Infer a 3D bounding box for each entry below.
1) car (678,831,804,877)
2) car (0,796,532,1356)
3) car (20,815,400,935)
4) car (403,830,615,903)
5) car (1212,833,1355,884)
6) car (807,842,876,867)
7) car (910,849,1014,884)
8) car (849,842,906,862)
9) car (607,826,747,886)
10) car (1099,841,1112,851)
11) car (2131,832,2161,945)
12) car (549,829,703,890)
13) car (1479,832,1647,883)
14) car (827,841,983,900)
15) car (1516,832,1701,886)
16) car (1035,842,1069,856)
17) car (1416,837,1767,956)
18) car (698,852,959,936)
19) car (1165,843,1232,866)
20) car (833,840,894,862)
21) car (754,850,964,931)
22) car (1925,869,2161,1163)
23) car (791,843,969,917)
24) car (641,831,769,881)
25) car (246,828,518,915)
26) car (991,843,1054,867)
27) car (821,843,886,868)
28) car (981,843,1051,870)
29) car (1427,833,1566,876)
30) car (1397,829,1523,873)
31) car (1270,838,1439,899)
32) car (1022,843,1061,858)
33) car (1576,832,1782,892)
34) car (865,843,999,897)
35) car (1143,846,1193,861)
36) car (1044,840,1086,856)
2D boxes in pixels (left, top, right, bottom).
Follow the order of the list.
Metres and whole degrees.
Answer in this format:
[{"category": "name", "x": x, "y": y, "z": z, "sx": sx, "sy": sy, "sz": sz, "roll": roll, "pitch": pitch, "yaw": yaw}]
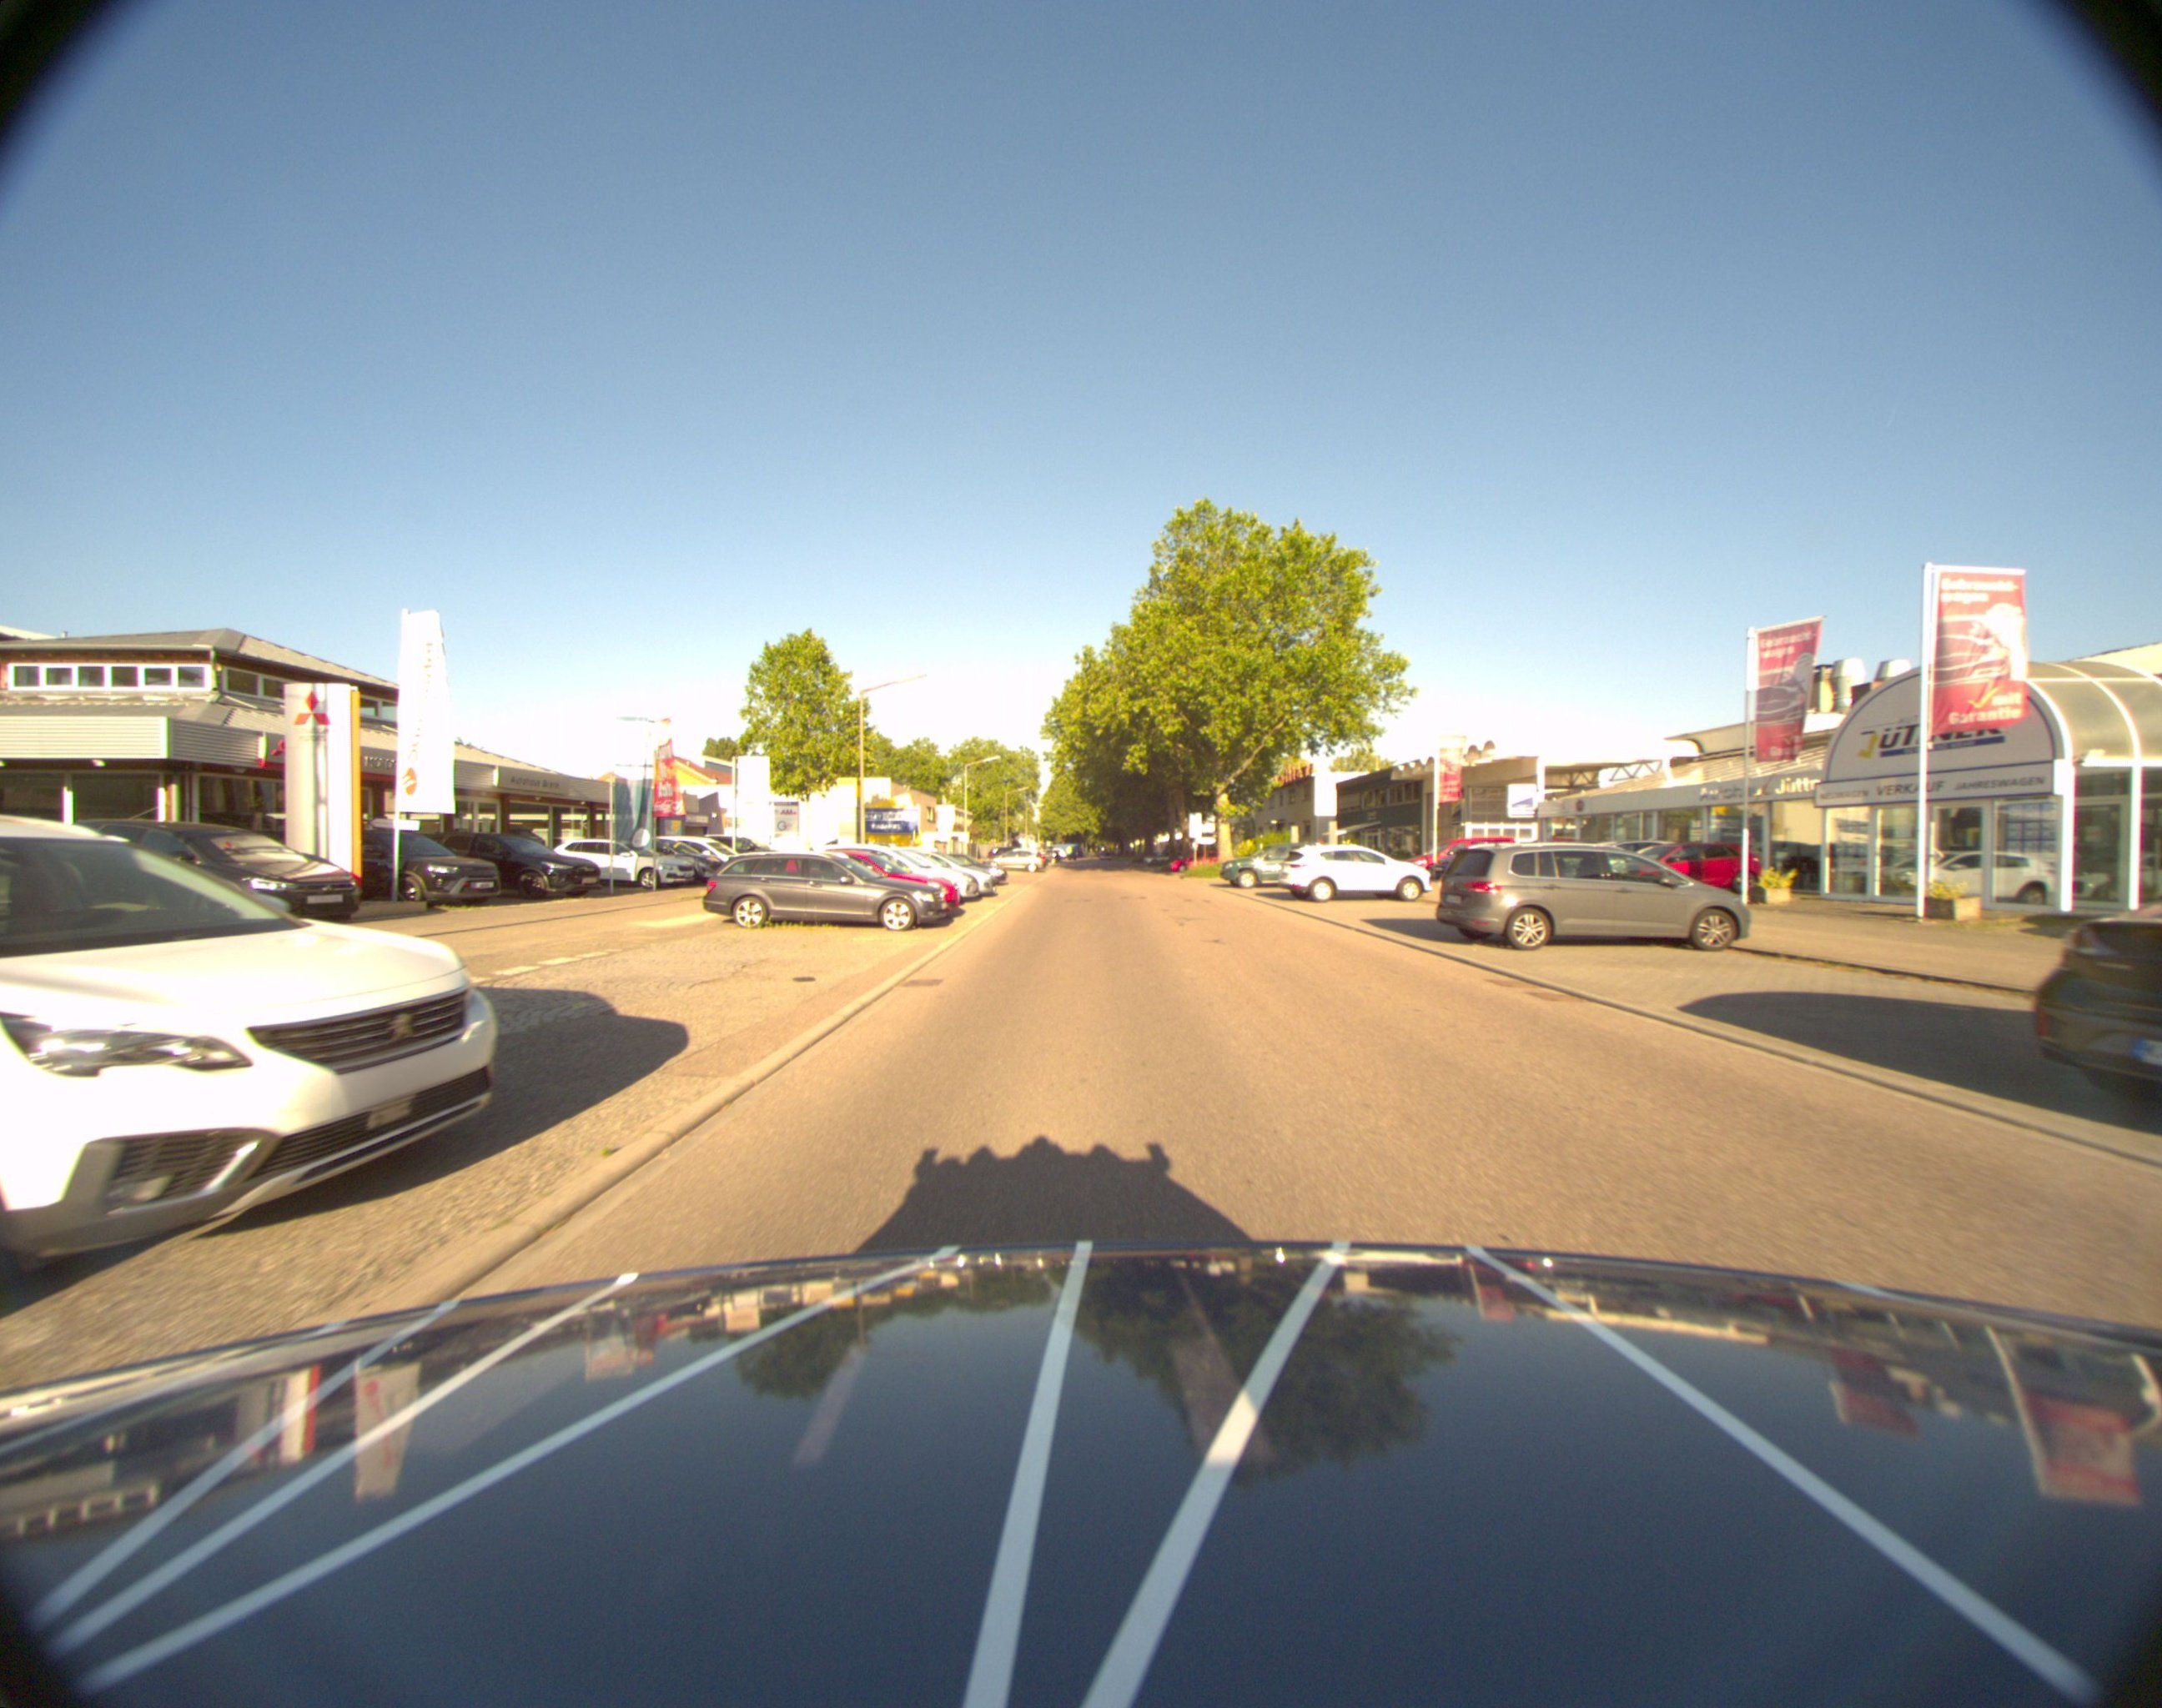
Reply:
[{"category": "car", "x": -14.902, "y": -0.027, "z": 33.511, "sx": 4.507, "sy": 1.888, "sz": 2.201, "roll": -1, "pitch": 2, "yaw": 0}, {"category": "car", "x": -5.401, "y": 0.523, "z": 3.148, "sx": 4.567, "sy": 1.588, "sz": 2.201, "roll": 3, "pitch": 1, "yaw": -2}, {"category": "car", "x": -14.558, "y": 0.312, "z": 12.918, "sx": 4.154, "sy": 1.761, "sz": 2.000, "roll": 2, "pitch": 2, "yaw": 1}, {"category": "car", "x": -14.705, "y": 0.280, "z": 19.716, "sx": 3.997, "sy": 1.687, "sz": 2.000, "roll": 2, "pitch": 1, "yaw": 1}, {"category": "car", "x": 8.242, "y": 0.158, "z": 31.315, "sx": 5.273, "sy": 1.888, "sz": 2.201, "roll": -1, "pitch": 2, "yaw": 0}, {"category": "car", "x": -15.859, "y": 0.020, "z": 50.469, "sx": 3.998, "sy": 1.510, "sz": 1.999, "roll": -1, "pitch": 1, "yaw": -4}, {"category": "car", "x": -4.915, "y": 0.493, "z": 31.713, "sx": 3.996, "sy": 1.289, "sz": 1.784, "roll": 1, "pitch": 1, "yaw": 3}, {"category": "car", "x": -16.003, "y": -0.162, "z": 59.867, "sx": 3.998, "sy": 1.488, "sz": 1.999, "roll": -1, "pitch": 1, "yaw": -4}, {"category": "car", "x": -14.522, "y": 0.072, "z": 27.486, "sx": 3.809, "sy": 1.887, "sz": 2.202, "roll": 3, "pitch": 1, "yaw": 0}, {"category": "car", "x": 3.949, "y": -1.331, "z": 123.753, "sx": 1.843, "sy": 1.562, "sz": 3.801, "roll": 2, "pitch": 1, "yaw": 0}, {"category": "car", "x": 16.841, "y": 0.447, "z": 9.724, "sx": 3.997, "sy": 1.547, "sz": 1.999, "roll": -1, "pitch": 1, "yaw": 0}, {"category": "car", "x": -14.799, "y": 0.147, "z": 24.872, "sx": 3.912, "sy": 1.888, "sz": 1.785, "roll": 0, "pitch": 3, "yaw": 0}, {"category": "car", "x": 16.992, "y": 0.097, "z": 26.958, "sx": 4.731, "sy": 1.633, "sz": 1.999, "roll": -1, "pitch": 1, "yaw": -1}, {"category": "car", "x": -4.993, "y": 0.442, "z": 22.035, "sx": 4.120, "sy": 1.609, "sz": 2.058, "roll": 0, "pitch": 1, "yaw": -3}, {"category": "car", "x": 16.967, "y": 0.138, "z": 24.602, "sx": 4.673, "sy": 1.583, "sz": 1.928, "roll": -1, "pitch": 1, "yaw": -1}, {"category": "car", "x": -4.073, "y": -0.749, "z": 107.317, "sx": 4.637, "sy": 1.702, "sz": 1.999, "roll": 3, "pitch": 1, "yaw": -1}, {"category": "car", "x": 8.045, "y": 0.604, "z": 12.329, "sx": 4.242, "sy": 1.646, "sz": 2.201, "roll": -1, "pitch": 2, "yaw": -2}, {"category": "car", "x": -4.833, "y": 0.737, "z": 15.112, "sx": 4.448, "sy": 1.428, "sz": 2.135, "roll": 2, "pitch": 1, "yaw": 0}, {"category": "car", "x": 8.180, "y": 0.013, "z": 53.075, "sx": 4.307, "sy": 1.438, "sz": 1.999, "roll": -2, "pitch": 2, "yaw": 0}, {"category": "car", "x": -16.063, "y": -0.264, "z": 56.238, "sx": 3.998, "sy": 1.510, "sz": 1.952, "roll": -1, "pitch": 1, "yaw": -4}, {"category": "car", "x": -4.870, "y": 0.770, "z": 17.194, "sx": 4.255, "sy": 1.596, "sz": 1.745, "roll": -2, "pitch": 1, "yaw": -6}, {"category": "car", "x": 7.803, "y": 0.839, "z": 4.023, "sx": 4.325, "sy": 1.451, "sz": 2.201, "roll": -1, "pitch": 2, "yaw": -2}, {"category": "car", "x": -5.092, "y": 0.628, "z": 19.758, "sx": 4.120, "sy": 1.730, "sz": 1.883, "roll": -1, "pitch": 1, "yaw": -3}, {"category": "car", "x": -14.807, "y": 0.100, "z": 30.110, "sx": 3.943, "sy": 1.887, "sz": 2.202, "roll": -1, "pitch": -1, "yaw": 0}, {"category": "car", "x": -14.851, "y": 0.334, "z": 16.330, "sx": 3.997, "sy": 1.650, "sz": 2.000, "roll": 2, "pitch": 1, "yaw": 1}, {"category": "car", "x": -4.493, "y": 0.072, "z": 58.854, "sx": 4.611, "sy": 1.571, "sz": 2.000, "roll": 3, "pitch": 2, "yaw": 2}, {"category": "car", "x": -15.905, "y": 0.104, "z": 53.271, "sx": 3.998, "sy": 1.586, "sz": 1.999, "roll": -1, "pitch": 1, "yaw": -4}, {"category": "car", "x": -4.517, "y": 0.156, "z": 53.268, "sx": 4.612, "sy": 1.604, "sz": 1.999, "roll": 3, "pitch": 2, "yaw": 0}, {"category": "car", "x": 17.272, "y": -0.007, "z": 31.758, "sx": 4.726, "sy": 1.625, "sz": 1.999, "roll": -1, "pitch": 1, "yaw": -1}, {"category": "car", "x": 17.184, "y": -0.142, "z": 34.597, "sx": 4.758, "sy": 1.809, "sz": 1.999, "roll": -1, "pitch": 1, "yaw": -1}, {"category": "car", "x": 8.231, "y": 0.394, "z": 23.151, "sx": 4.314, "sy": 1.646, "sz": 2.201, "roll": -1, "pitch": 2, "yaw": -2}, {"category": "car", "x": -4.832, "y": -0.412, "z": 93.450, "sx": 4.637, "sy": 1.518, "sz": 1.999, "roll": 3, "pitch": 1, "yaw": -1}, {"category": "car", "x": 16.986, "y": 0.198, "z": 21.734, "sx": 4.475, "sy": 1.544, "sz": 1.836, "roll": -1, "pitch": 1, "yaw": -1}, {"category": "car", "x": -4.699, "y": 0.493, "z": 24.420, "sx": 3.998, "sy": 1.579, "sz": 1.866, "roll": 1, "pitch": 1, "yaw": -3}, {"category": "car", "x": 8.313, "y": -0.082, "z": 73.115, "sx": 4.611, "sy": 1.414, "sz": 2.000, "roll": 0, "pitch": 0, "yaw": 0}, {"category": "car", "x": -2.730, "y": -1.045, "z": 127.889, "sx": 6.982, "sy": 2.644, "sz": 2.138, "roll": 0, "pitch": 1, "yaw": 28}]
